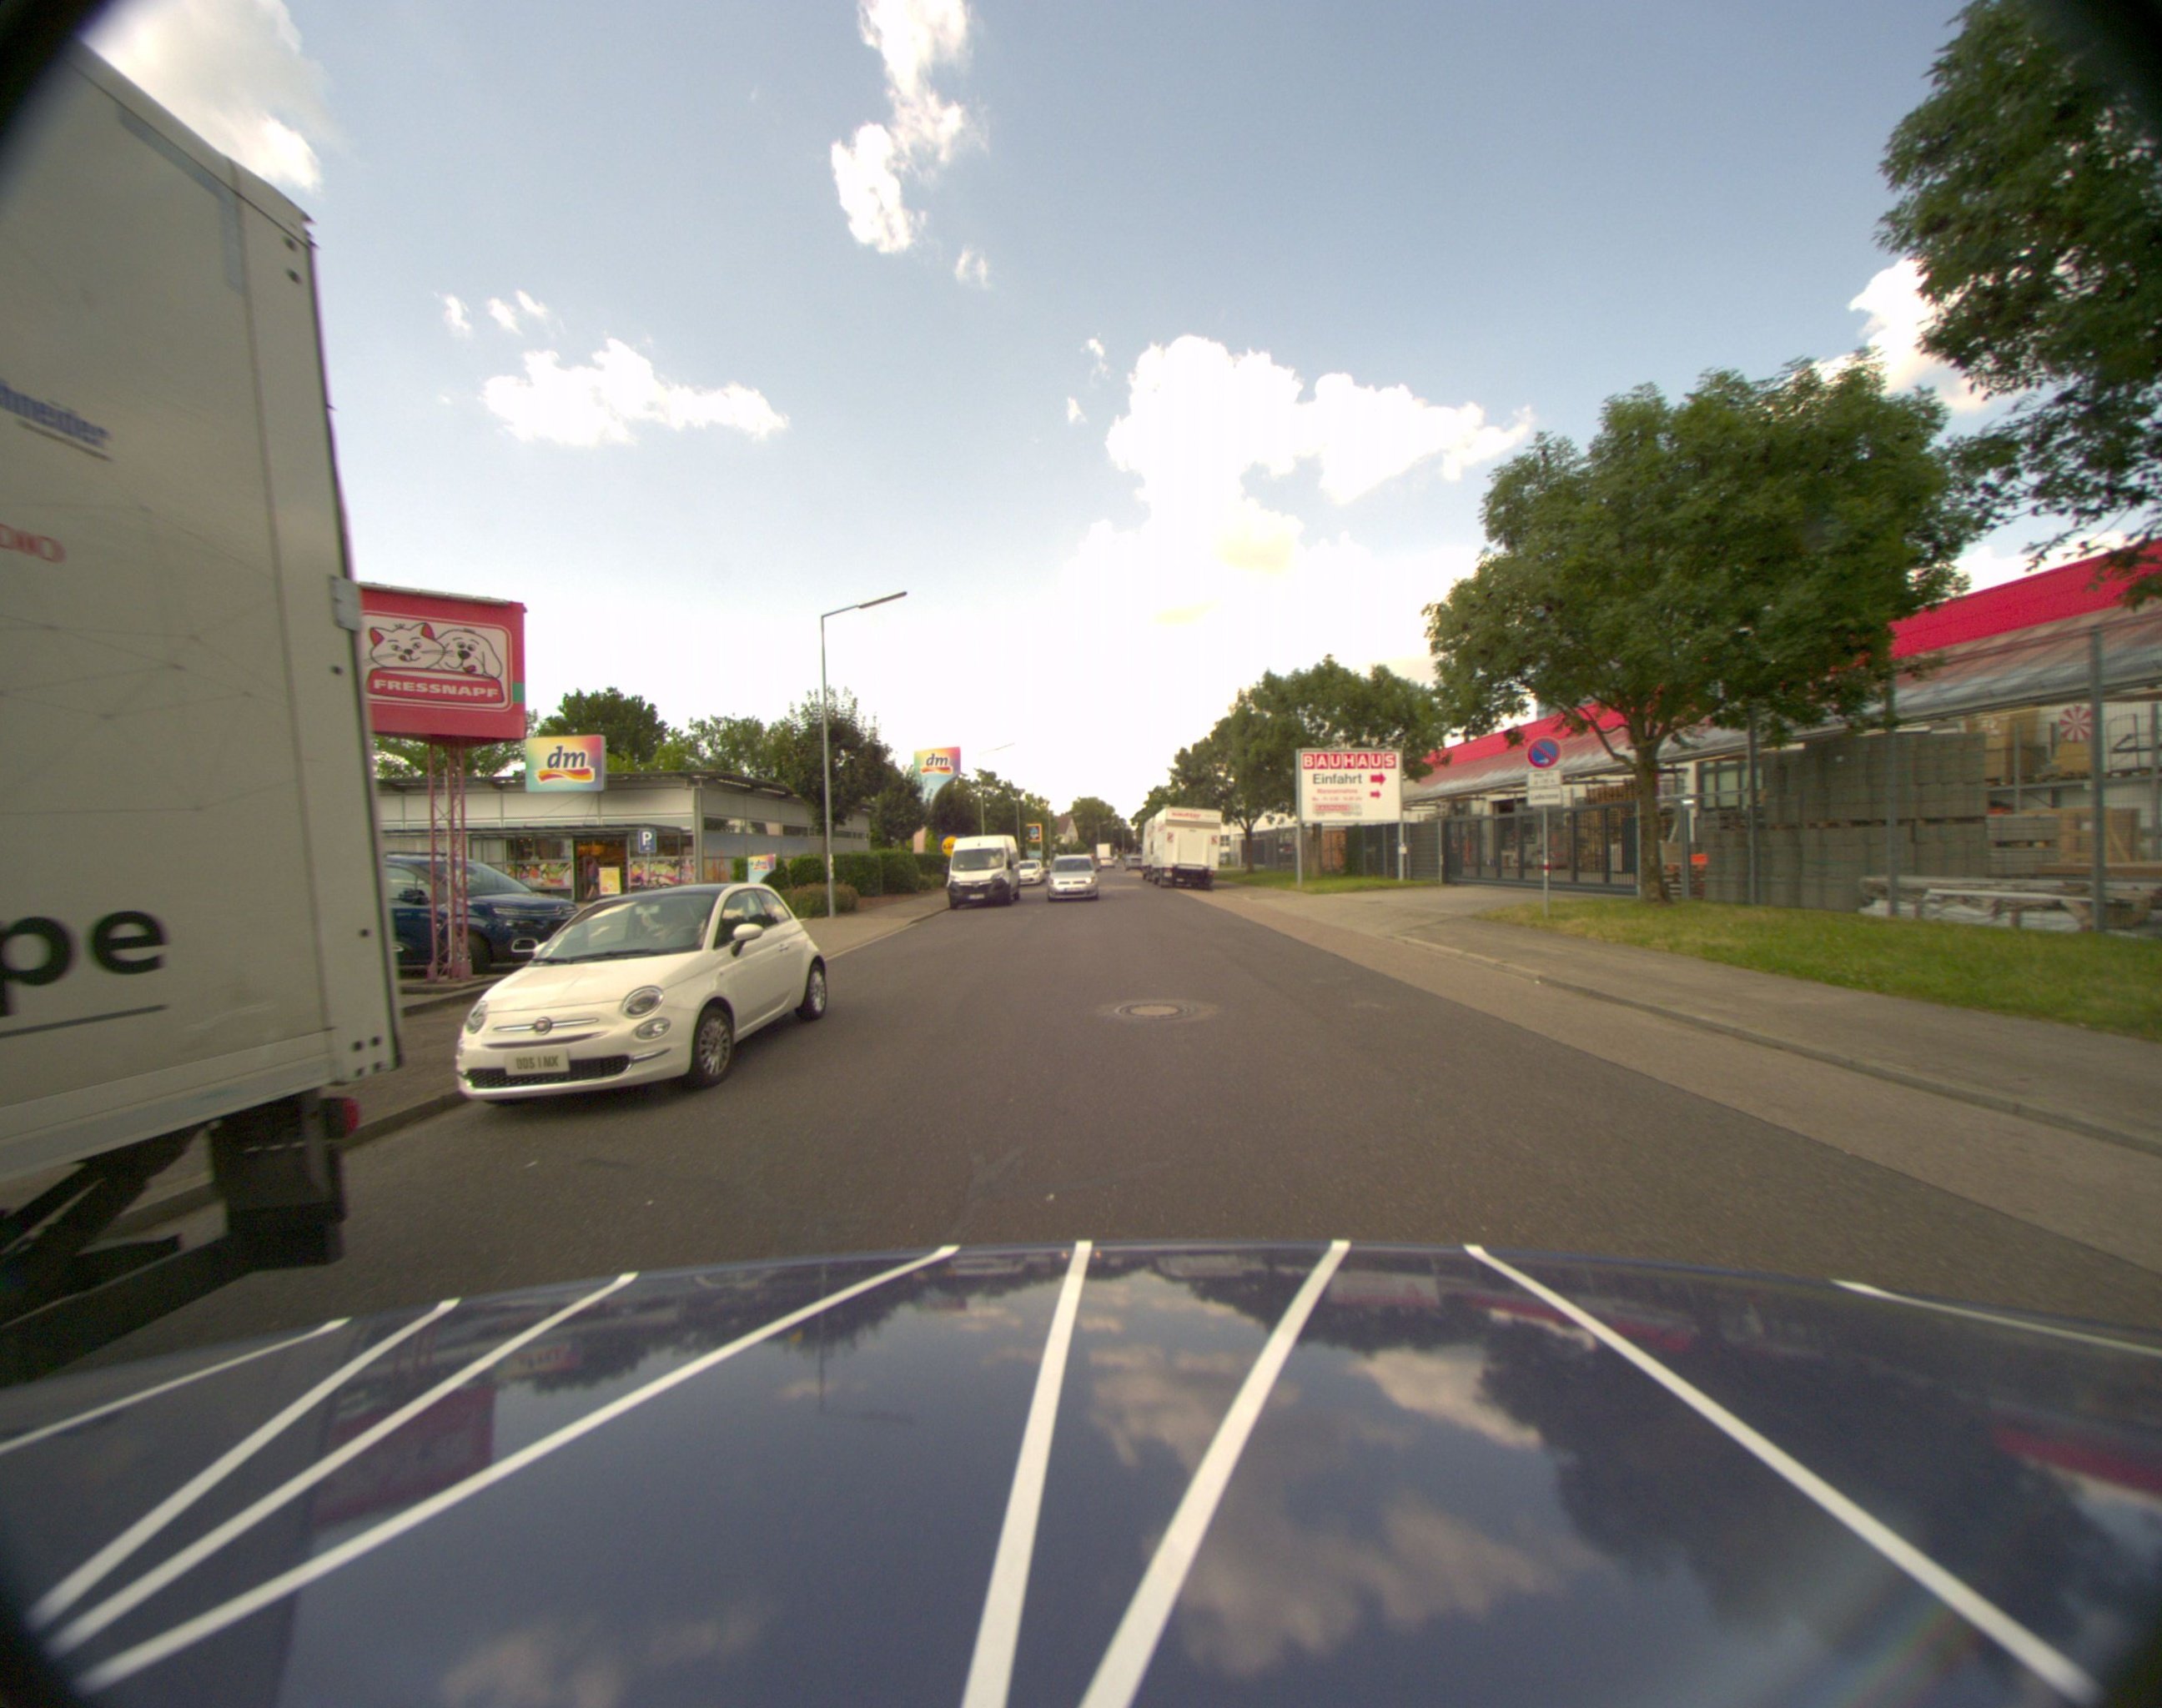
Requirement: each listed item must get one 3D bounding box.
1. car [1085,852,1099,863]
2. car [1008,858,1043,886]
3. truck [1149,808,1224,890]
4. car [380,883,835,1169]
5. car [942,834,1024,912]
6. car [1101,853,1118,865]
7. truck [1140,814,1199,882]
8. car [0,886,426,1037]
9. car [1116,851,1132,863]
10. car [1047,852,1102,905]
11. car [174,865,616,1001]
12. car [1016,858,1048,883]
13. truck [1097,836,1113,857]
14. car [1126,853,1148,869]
[{"bbox_3d":[1.597,0.454,109.462,1.856,1.467,4.000,-2,0,0],"label":"car"},{"bbox_3d":[-3.205,1.050,44.753,1.698,1.448,3.549,-4,0,0],"label":"car"},{"bbox_3d":[5.085,-0.282,37.917,2.754,3.701,7.170,0,1,0],"label":"truck"},{"bbox_3d":[-3.495,1.127,6.494,1.549,1.502,3.625,-4,0,-1],"label":"car"},{"bbox_3d":[-3.349,0.604,27.165,2.057,2.395,5.454,-4,0,0],"label":"car"},{"bbox_3d":[3.515,0.597,93.703,1.982,1.467,4.000,-2,0,0],"label":"car"},{"bbox_3d":[5.250,-0.332,46.182,2.754,3.787,7.171,0,0,0],"label":"truck"},{"bbox_3d":[-10.265,1.183,8.863,3.820,1.490,1.654,-1,0,2],"label":"car"},{"bbox_3d":[5.687,0.373,101.484,1.853,1.565,4.000,-2,0,0],"label":"car"},{"bbox_3d":[-0.158,0.811,27.778,1.744,1.674,4.592,-3,0,1],"label":"car"},{"bbox_3d":[-10.079,1.112,11.478,4.905,1.777,1.902,-1,0,0],"label":"car"},{"bbox_3d":[-3.141,1.030,49.190,1.698,1.448,3.704,-4,0,0],"label":"car"},{"bbox_3d":[4.998,-1.445,157.833,2.979,4.132,9.666,-2,0,0],"label":"truck"},{"bbox_3d":[5.676,0.689,77.340,1.982,1.565,4.000,-2,0,0],"label":"car"}]
